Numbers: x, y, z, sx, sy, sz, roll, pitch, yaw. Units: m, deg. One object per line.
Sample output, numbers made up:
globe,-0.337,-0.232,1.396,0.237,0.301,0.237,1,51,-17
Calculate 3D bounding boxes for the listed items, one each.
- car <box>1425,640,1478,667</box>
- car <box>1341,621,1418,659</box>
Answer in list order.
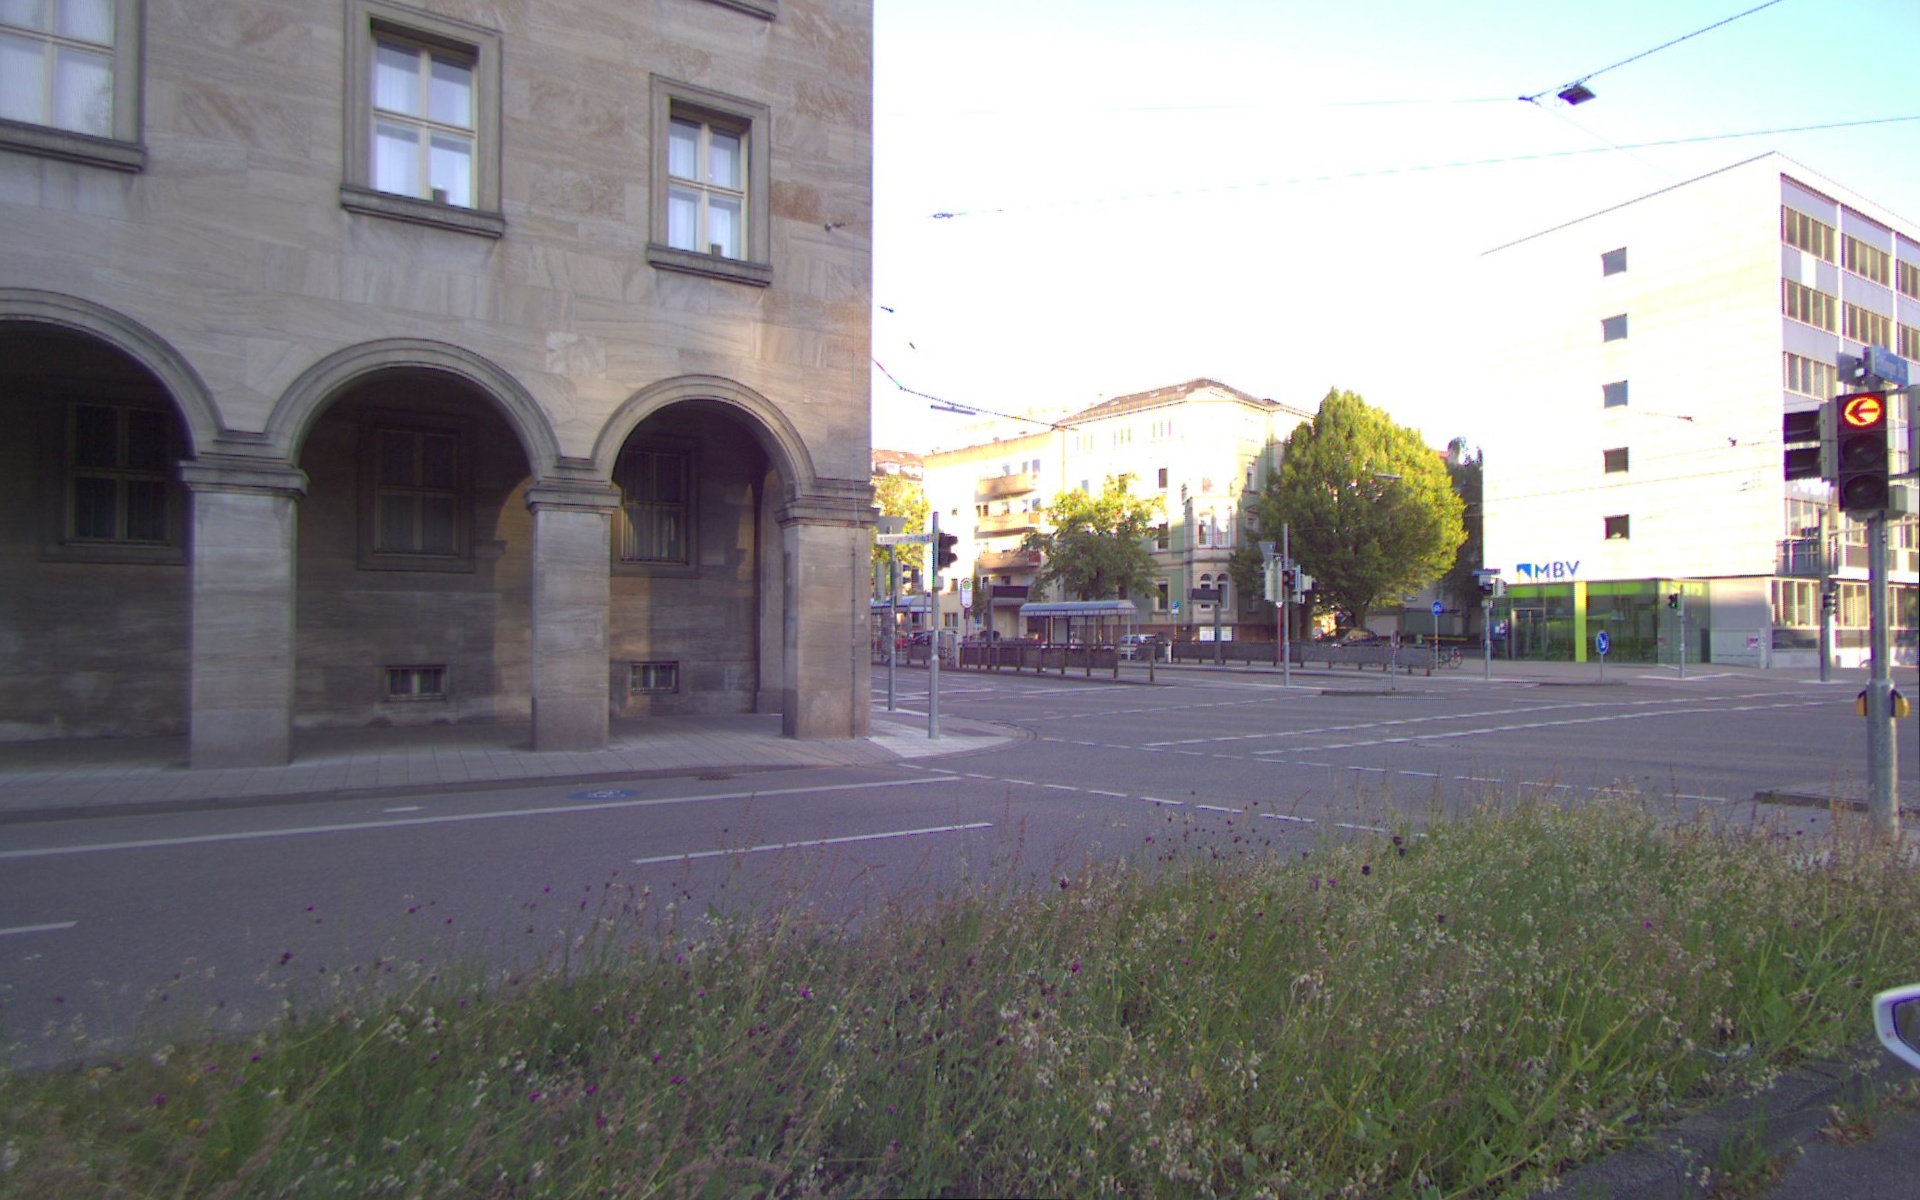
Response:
car,21.214,2.297,43.362,2.492,1.088,0.849,1,-2,-31
car,23.159,2.196,55.396,3.954,2.040,1.984,1,-2,-31
